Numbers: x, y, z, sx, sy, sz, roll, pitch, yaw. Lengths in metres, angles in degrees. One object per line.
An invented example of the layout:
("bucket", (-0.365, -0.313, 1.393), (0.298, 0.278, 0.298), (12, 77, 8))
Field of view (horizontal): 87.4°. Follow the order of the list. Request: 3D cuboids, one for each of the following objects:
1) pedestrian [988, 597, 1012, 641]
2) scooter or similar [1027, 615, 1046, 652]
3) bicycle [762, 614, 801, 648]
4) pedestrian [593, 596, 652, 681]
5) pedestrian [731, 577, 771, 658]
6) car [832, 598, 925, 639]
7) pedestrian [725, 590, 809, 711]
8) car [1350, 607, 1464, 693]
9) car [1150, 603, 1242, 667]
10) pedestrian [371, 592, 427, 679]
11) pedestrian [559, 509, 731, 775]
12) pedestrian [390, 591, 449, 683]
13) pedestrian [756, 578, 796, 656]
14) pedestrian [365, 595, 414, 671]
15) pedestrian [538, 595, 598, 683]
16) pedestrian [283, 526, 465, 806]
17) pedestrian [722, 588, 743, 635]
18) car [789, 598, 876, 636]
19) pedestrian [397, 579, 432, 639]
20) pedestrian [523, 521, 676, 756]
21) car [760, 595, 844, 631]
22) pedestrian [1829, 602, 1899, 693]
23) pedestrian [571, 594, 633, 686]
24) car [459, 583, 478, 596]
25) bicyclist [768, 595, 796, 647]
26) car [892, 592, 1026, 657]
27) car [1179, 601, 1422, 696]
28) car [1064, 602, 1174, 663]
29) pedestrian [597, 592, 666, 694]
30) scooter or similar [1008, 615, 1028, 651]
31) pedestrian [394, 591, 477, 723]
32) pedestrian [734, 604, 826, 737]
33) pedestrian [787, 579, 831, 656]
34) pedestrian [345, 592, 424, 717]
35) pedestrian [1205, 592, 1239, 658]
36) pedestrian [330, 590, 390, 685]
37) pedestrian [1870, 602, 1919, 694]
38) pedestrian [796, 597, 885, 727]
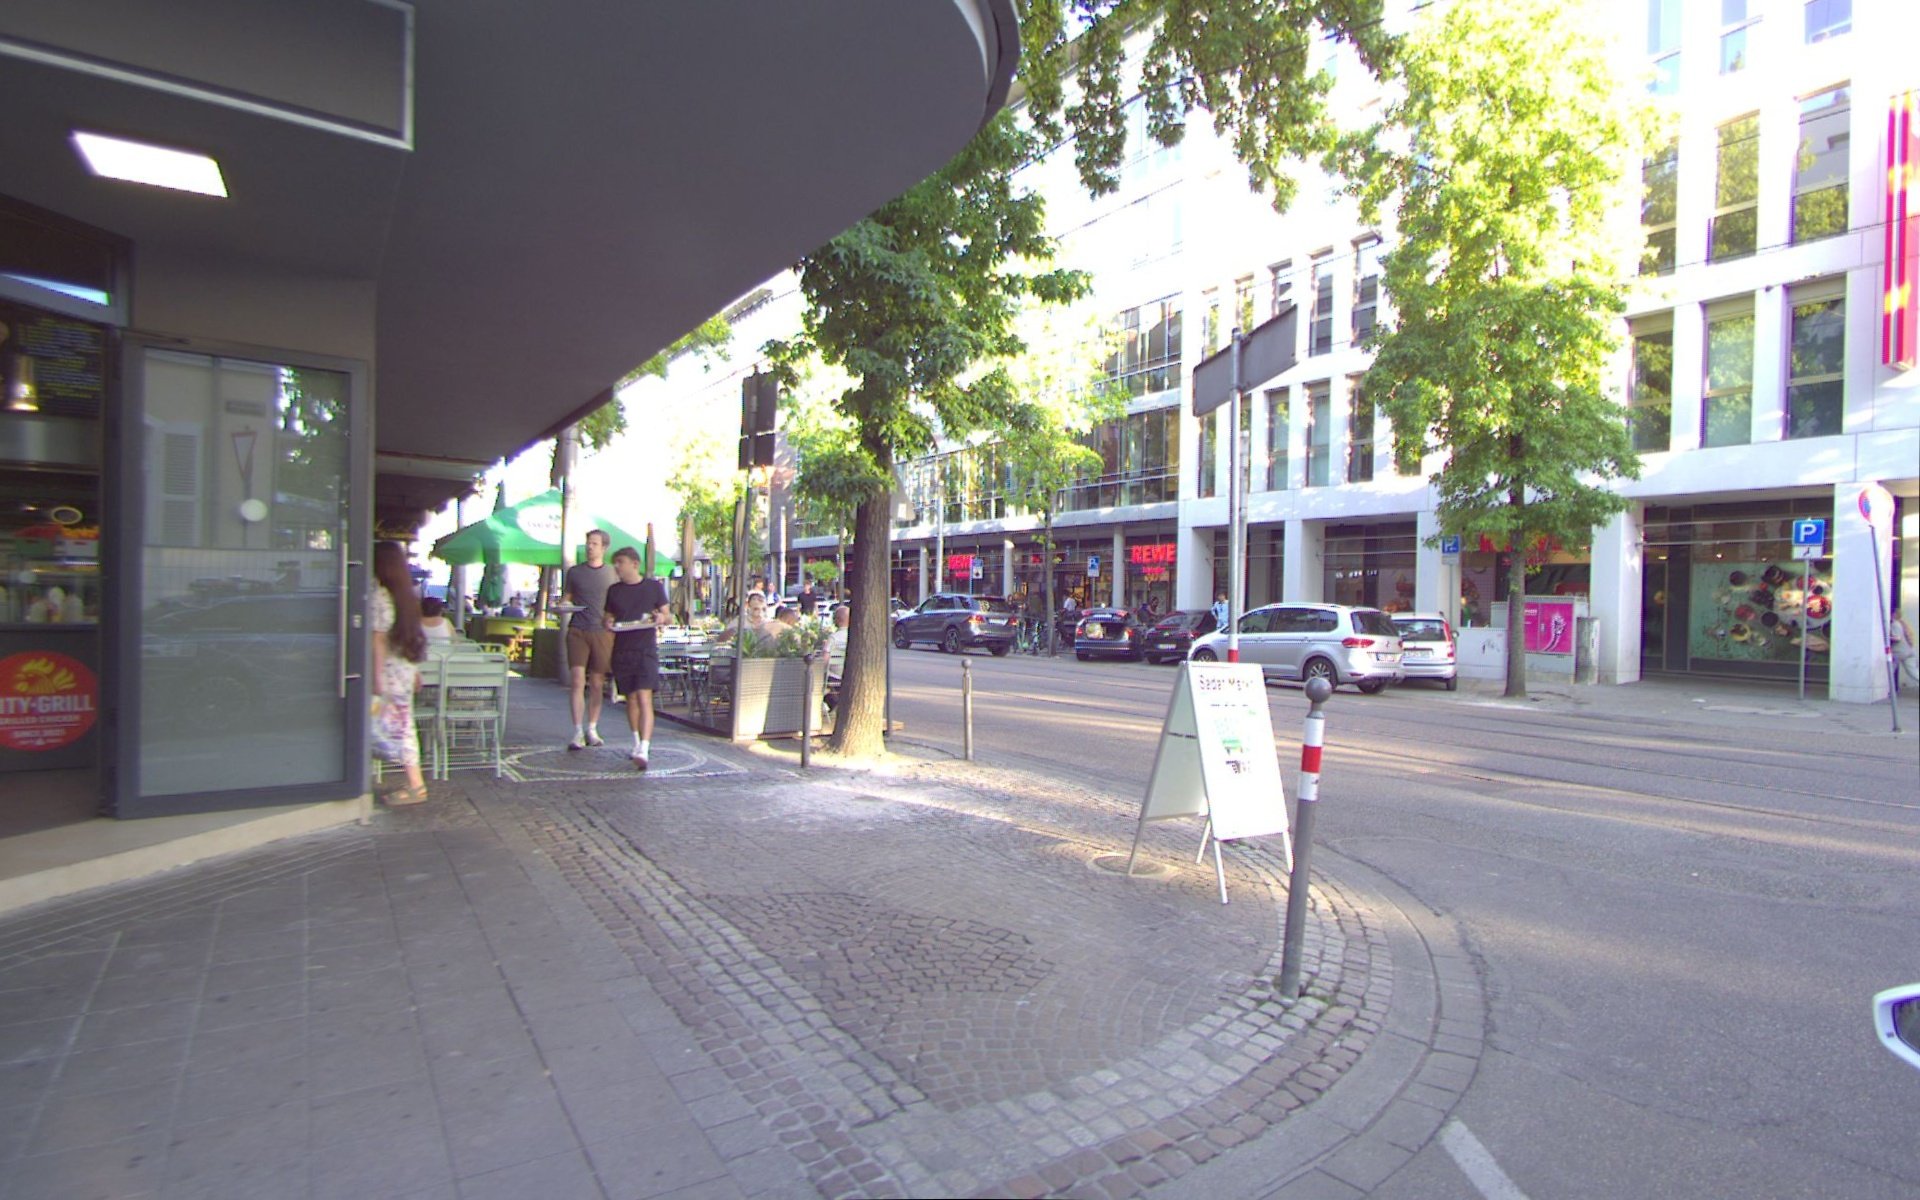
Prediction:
("pedestrian", (1.509, 0.724, 38.000), (0.607, 1.649, 0.635), (1, 0, -43))
("scooter or similar", (2.420, 1.040, 31.540), (0.382, 1.085, 1.807), (1, 0, 10))
("bicycle", (-6.531, 1.104, 36.663), (0.507, 1.166, 2.035), (1, 1, -37))
("pedestrian", (-5.672, 0.629, 16.880), (0.725, 1.377, 0.706), (0, 2, -37))
("pedestrian", (-5.133, 0.424, 24.676), (0.704, 1.927, 1.062), (1, -1, -27))
("car", (-3.324, 0.732, 41.822), (1.916, 1.526, 3.990), (-1, 1, 29))
("pedestrian", (-2.323, 0.579, 12.070), (0.725, 1.377, 0.706), (0, 2, -37))
("car", (9.729, 0.988, 21.705), (1.916, 1.526, 3.990), (0, 2, 29))
("car", (6.585, 0.905, 27.824), (1.562, 1.526, 3.585), (0, 2, 29))
("pedestrian", (-8.602, 0.534, 15.397), (0.648, 1.277, 0.666), (0, 2, -37))
("pedestrian", (-2.525, 0.315, 8.025), (1.020, 1.927, 1.058), (1, -1, -36))
("pedestrian", (-7.878, 0.528, 14.640), (0.648, 1.277, 0.666), (0, 2, -37))
("pedestrian", (-4.667, 0.440, 25.408), (0.704, 1.927, 1.062), (1, -1, -27))
("pedestrian", (-9.904, 0.559, 17.428), (0.648, 1.277, 0.666), (0, 2, -37))
("pedestrian", (-6.423, 0.616, 16.448), (0.725, 1.377, 0.706), (0, 2, -37))
("pedestrian", (-3.556, 0.382, 6.144), (0.589, 1.593, 0.754), (0, -1, 12))
("pedestrian", (-10.000, 0.500, 44.118), (0.642, 2.040, 0.787), (1, 0, -36))
("car", (-5.755, 0.763, 45.913), (1.916, 1.526, 3.990), (-1, 1, 29))
("pedestrian", (-15.079, 0.247, 27.741), (0.704, 1.628, 0.871), (1, 0, -38))
("pedestrian", (-3.223, 0.325, 8.954), (1.020, 1.927, 1.058), (1, -1, -36))
("car", (-7.511, 0.591, 48.117), (1.916, 1.526, 3.990), (-1, 1, 29))
("pedestrian", (16.860, 0.870, 18.746), (0.599, 1.649, 0.873), (0, -1, 10))
("pedestrian", (-5.603, 0.610, 15.720), (0.725, 1.377, 0.706), (0, 2, -37))
("car", (-61.264, -1.248, 125.096), (1.656, 1.562, 3.469), (1, 0, -34))
("bicyclist", (-6.500, 0.758, 36.654), (0.648, 1.880, 0.981), (1, 0, -36))
("car", (-0.112, 0.705, 30.178), (1.852, 1.760, 4.240), (3, -1, -36))
("car", (6.553, 0.882, 19.735), (1.811, 1.613, 4.240), (3, -1, -36))
("car", (4.714, 0.895, 29.284), (1.916, 1.526, 3.990), (0, 2, 29))
("pedestrian", (-4.636, 0.589, 14.175), (0.725, 1.377, 0.706), (0, 2, -37))
("scooter or similar", (1.846, 1.041, 31.816), (0.382, 1.085, 1.807), (1, 0, 10))
("pedestrian", (-5.409, 0.561, 10.345), (0.648, 1.277, 0.666), (0, 2, -37))
("pedestrian", (-1.946, 0.735, 10.848), (0.707, 1.346, 0.723), (0, 2, -37))
("pedestrian", (-3.860, 0.450, 25.682), (0.816, 1.927, 1.062), (1, -1, -27))
("pedestrian", (-6.199, 0.563, 10.816), (0.648, 1.277, 0.666), (0, 2, -37))
("pedestrian", (6.650, 0.628, 25.499), (0.631, 1.649, 0.641), (1, 1, 36))
("pedestrian", (-8.497, 0.515, 14.225), (0.648, 1.277, 0.666), (0, 2, -37))
("pedestrian", (17.457, 0.871, 18.539), (0.599, 1.649, 0.873), (0, -1, 10))
("pedestrian", (-1.351, 0.676, 11.335), (0.725, 1.377, 0.706), (0, 2, -37))
